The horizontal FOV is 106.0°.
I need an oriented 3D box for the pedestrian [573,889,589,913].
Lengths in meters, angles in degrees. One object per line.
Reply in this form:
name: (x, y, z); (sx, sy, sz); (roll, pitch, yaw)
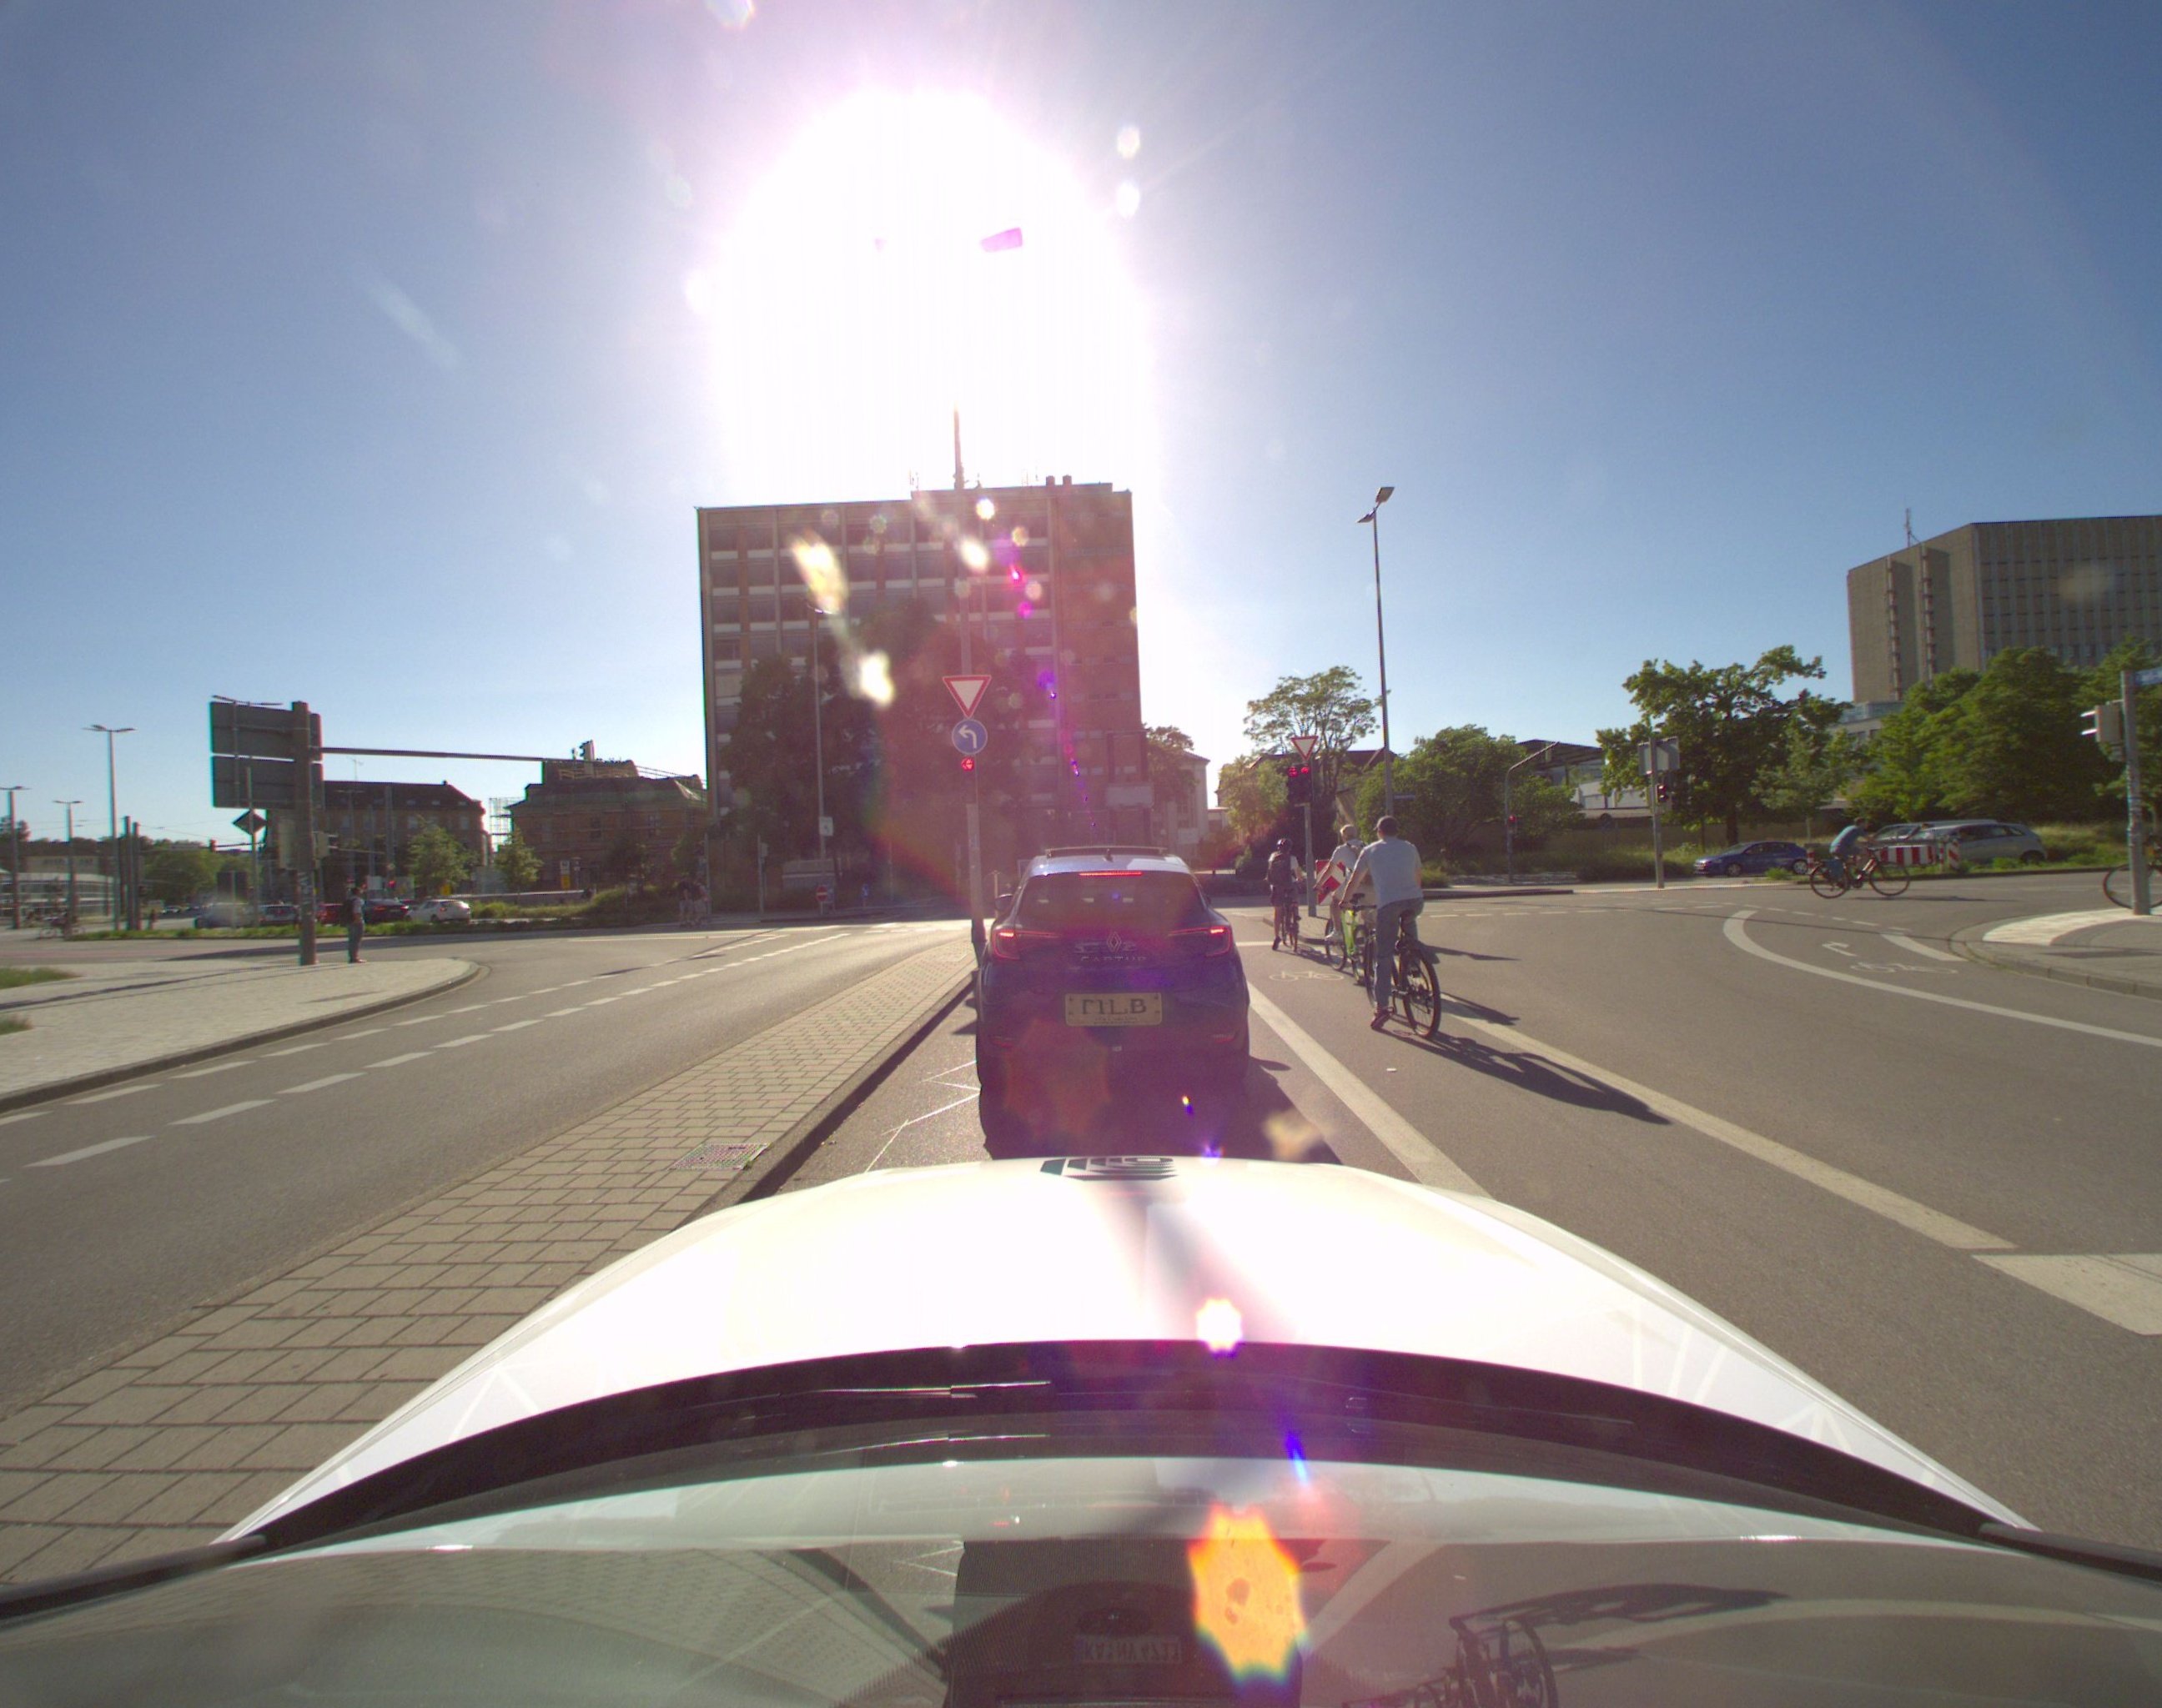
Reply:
pedestrian: (-37.249, 3.523, 60.691); (0.680, 1.730, 0.759); (-2, -1, -7)

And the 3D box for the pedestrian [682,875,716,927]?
pedestrian: (-13.215, 1.606, 28.158); (0.675, 1.730, 0.764); (-3, -1, 15)

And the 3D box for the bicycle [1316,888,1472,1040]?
bicycle: (2.710, 0.894, 7.283); (0.687, 1.089, 1.923); (-1, 0, 2)

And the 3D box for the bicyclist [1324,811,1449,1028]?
bicyclist: (2.713, 0.549, 7.348); (0.680, 1.791, 1.142); (-1, -1, 2)

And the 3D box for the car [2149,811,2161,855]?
car: (36.898, -0.765, 25.330); (4.534, 1.398, 1.798); (-2, -1, 7)

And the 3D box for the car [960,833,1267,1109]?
car: (0.194, 0.700, 6.765); (1.783, 1.585, 3.913); (-1, 0, 0)

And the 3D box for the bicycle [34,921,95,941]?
bicycle: (-65.674, 4.954, 52.647); (0.800, 1.062, 2.434); (-1, -1, 40)

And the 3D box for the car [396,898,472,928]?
car: (-36.398, 3.329, 45.834); (3.834, 1.508, 1.805); (-3, -1, 25)

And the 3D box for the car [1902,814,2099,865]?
car: (29.217, -0.436, 26.000); (3.965, 1.398, 1.798); (-2, -1, 7)

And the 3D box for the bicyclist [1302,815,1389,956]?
bicyclist: (3.166, 0.359, 9.833); (0.676, 1.594, 1.142); (-1, -1, 2)

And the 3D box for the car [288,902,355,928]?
car: (-48.211, 3.862, 51.708); (3.834, 1.508, 1.805); (-3, -1, 25)

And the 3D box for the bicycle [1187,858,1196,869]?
bicycle: (12.144, 1.074, 89.813); (0.692, 1.140, 2.441); (-2, 0, 1)

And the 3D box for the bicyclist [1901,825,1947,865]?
bicyclist: (29.283, -0.318, 28.292); (0.870, 1.343, 0.612); (-2, -1, 7)

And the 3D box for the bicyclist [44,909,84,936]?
bicyclist: (-65.730, 4.429, 52.659); (0.800, 1.634, 1.586); (-1, -1, 39)

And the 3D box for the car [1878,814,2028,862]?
car: (35.867, -0.620, 33.606); (3.965, 1.749, 1.798); (-2, -1, 7)

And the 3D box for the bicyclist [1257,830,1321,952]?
bicyclist: (3.222, 0.554, 12.712); (0.697, 1.791, 1.142); (-1, -1, 2)

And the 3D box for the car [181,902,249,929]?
car: (-54.917, 3.883, 51.636); (3.834, 1.508, 1.805); (-3, -1, 25)

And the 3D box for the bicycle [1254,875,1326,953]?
bicycle: (3.259, 0.907, 12.869); (0.687, 1.089, 1.923); (-1, 0, 2)

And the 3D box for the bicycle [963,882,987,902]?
bicycle: (-5.731, 2.038, 44.170); (0.751, 0.985, 2.098); (-2, 0, 8)

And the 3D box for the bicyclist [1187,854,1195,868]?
bicyclist: (12.132, 0.736, 89.756); (0.692, 1.481, 0.717); (-2, -1, 1)

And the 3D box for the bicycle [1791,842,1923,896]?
bicycle: (15.810, 0.304, 16.630); (1.887, 0.973, 0.651); (-4, -1, 9)

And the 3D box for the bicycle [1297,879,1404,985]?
bicycle: (3.188, 0.885, 9.839); (0.687, 1.089, 1.923); (-1, 0, 2)

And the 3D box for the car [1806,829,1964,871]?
car: (30.293, -0.139, 30.792); (3.965, 1.398, 1.798); (-2, -1, 7)

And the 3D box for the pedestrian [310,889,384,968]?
pedestrian: (-17.240, 1.732, 19.159); (0.647, 1.730, 1.066); (-3, -1, 15)

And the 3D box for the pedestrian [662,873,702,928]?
pedestrian: (-13.982, 1.628, 28.552); (0.807, 1.862, 0.913); (-3, -1, 15)

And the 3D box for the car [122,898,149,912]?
car: (-153.101, 8.278, 131.884); (2.008, 2.014, 3.956); (0, -1, -35)

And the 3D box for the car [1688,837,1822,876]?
car: (28.131, 0.103, 34.106); (3.965, 1.398, 1.798); (-2, -1, 7)

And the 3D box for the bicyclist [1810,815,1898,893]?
bicyclist: (15.766, 0.000, 16.637); (1.045, 1.513, 0.643); (-4, -1, 9)

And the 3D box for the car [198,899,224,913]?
car: (-145.504, 8.652, 136.214); (1.797, 2.013, 3.963); (-2, -1, -29)

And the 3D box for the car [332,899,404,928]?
car: (-42.600, 3.557, 48.643); (3.834, 1.508, 1.805); (-3, -1, 25)

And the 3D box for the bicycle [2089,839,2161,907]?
bicycle: (15.911, 0.264, 11.625); (0.640, 0.958, 1.866); (-2, -1, -39)

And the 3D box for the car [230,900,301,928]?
car: (-48.868, 3.596, 48.804); (3.834, 1.508, 1.805); (-3, -1, 25)

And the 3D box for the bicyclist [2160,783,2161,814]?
bicyclist: (16.023, -0.229, 11.472); (0.635, 1.646, 0.903); (-2, -1, -39)

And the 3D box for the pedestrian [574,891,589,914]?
pedestrian: (-39.491, 3.821, 64.383); (0.678, 1.730, 0.761); (-2, -1, -1)

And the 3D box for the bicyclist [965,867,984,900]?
bicyclist: (-5.764, 1.604, 44.070); (0.751, 1.716, 1.001); (-2, -1, 7)
